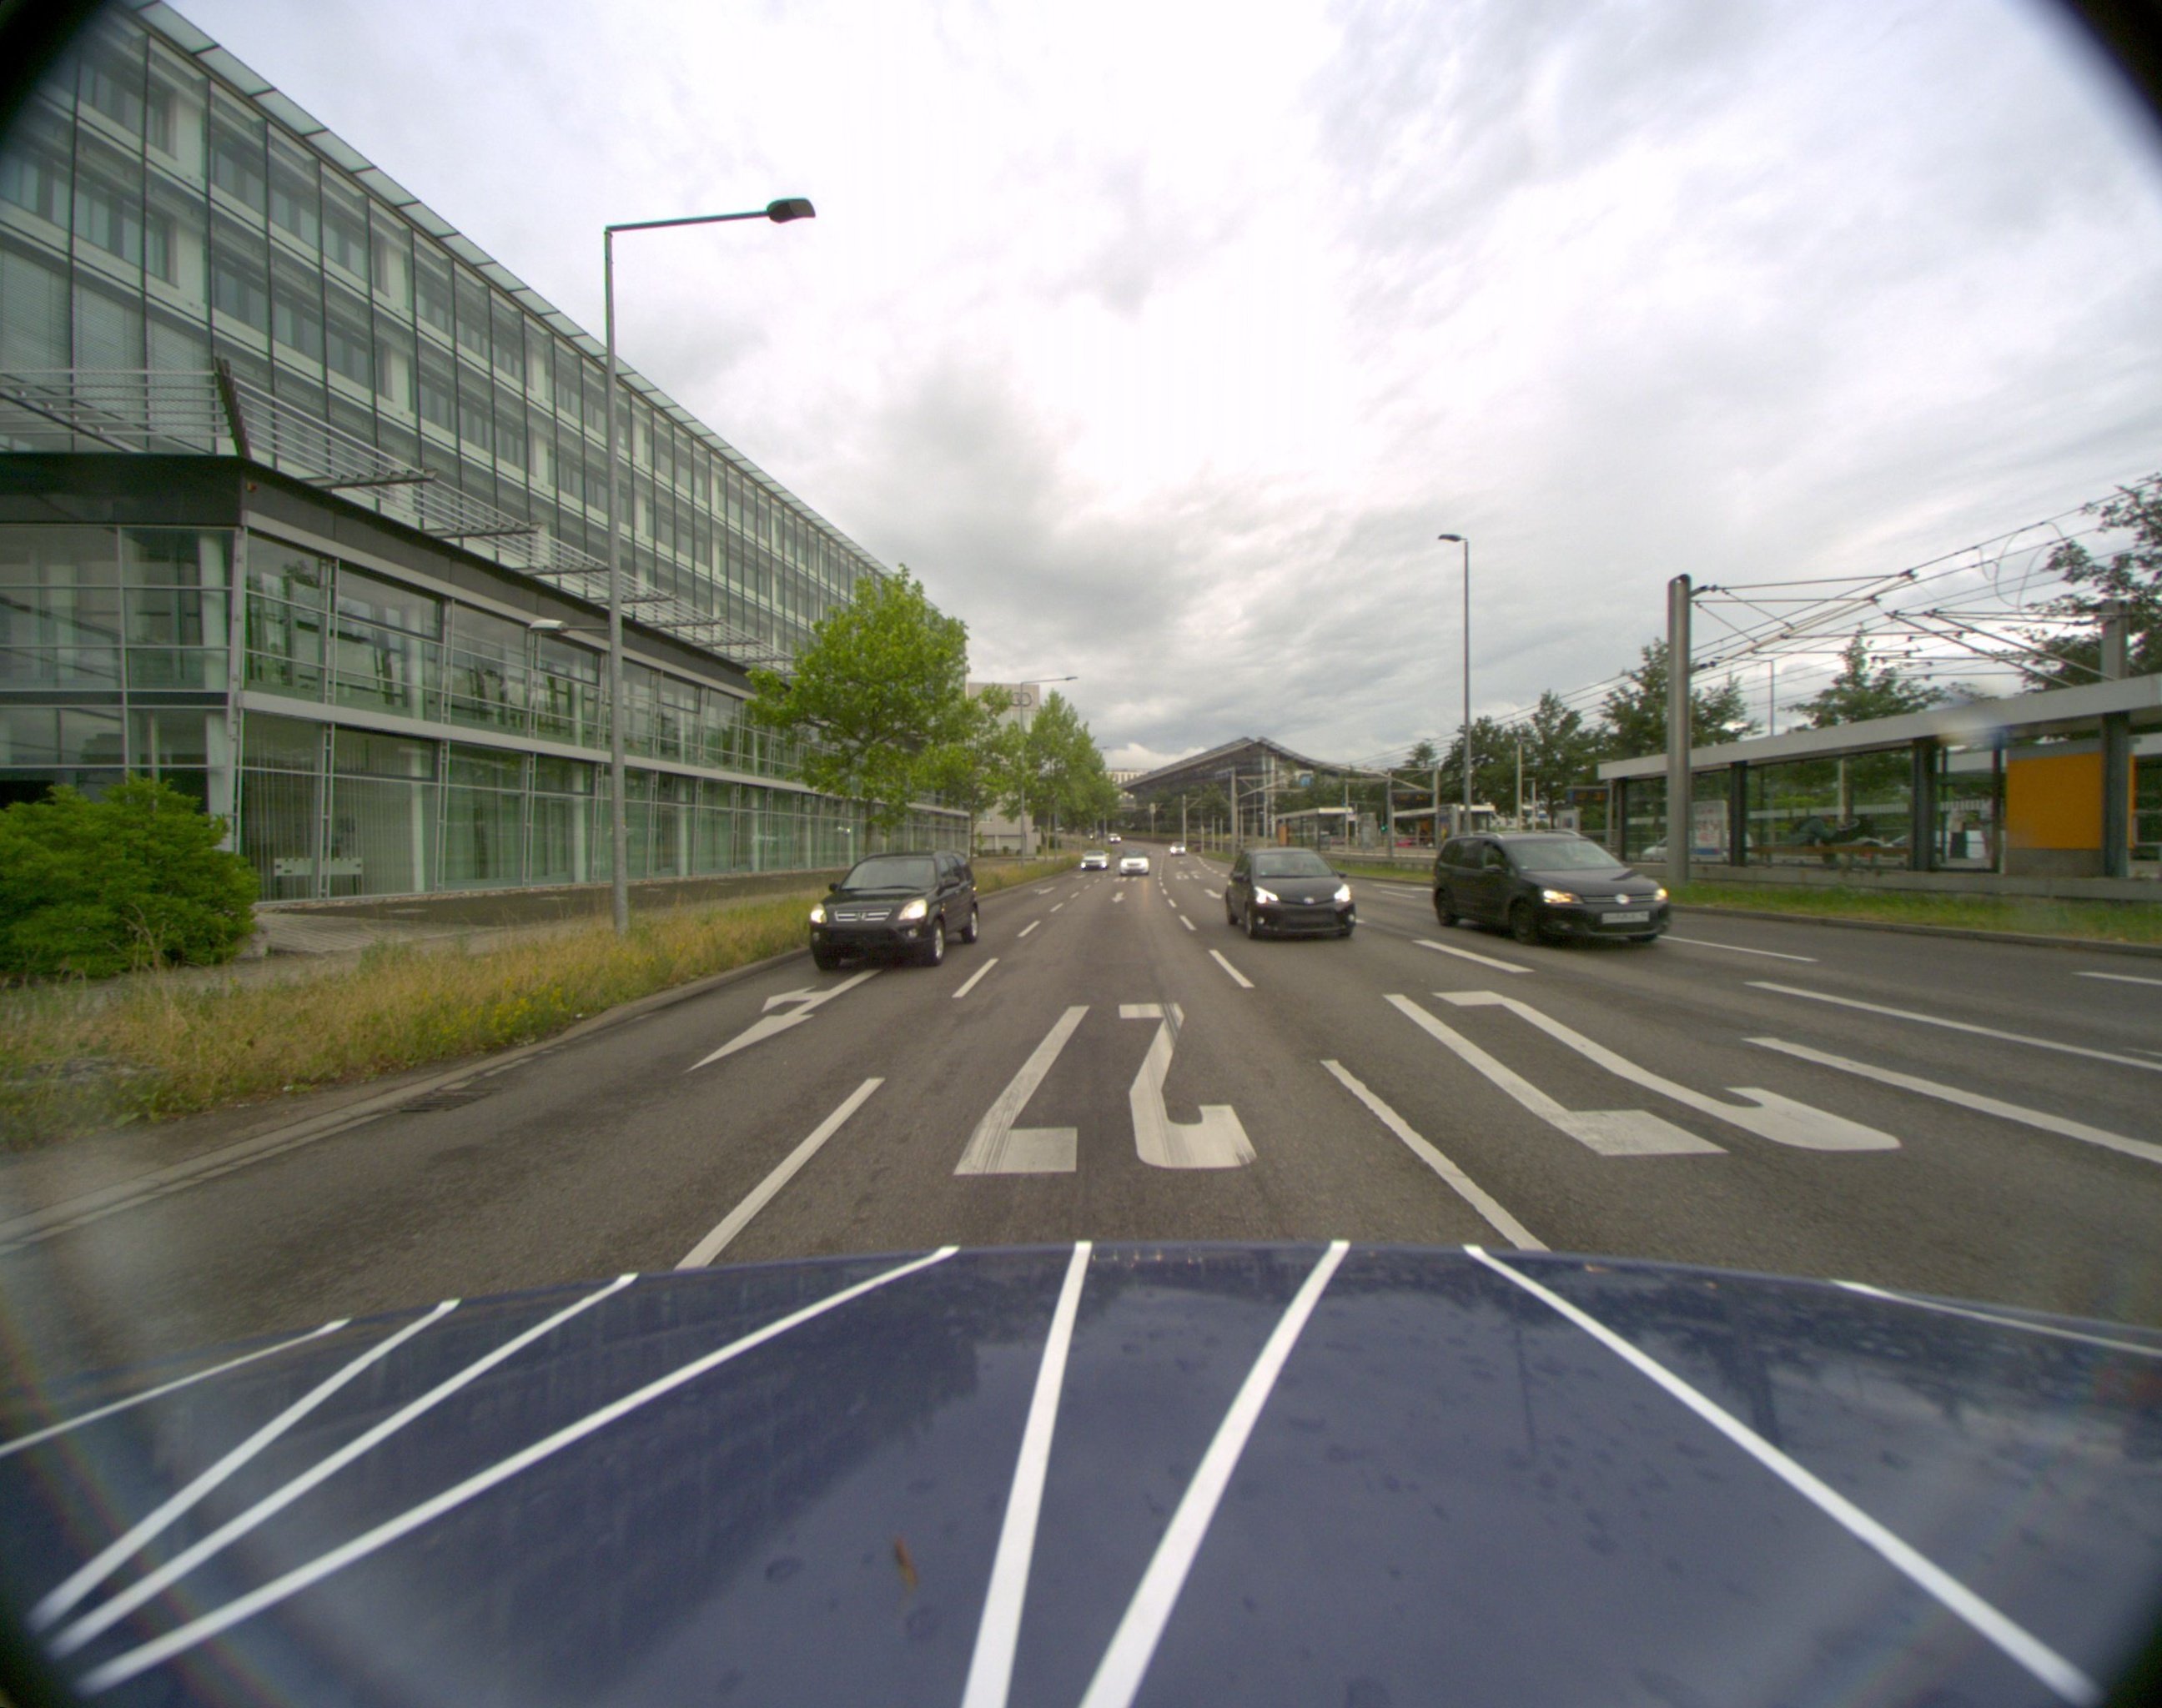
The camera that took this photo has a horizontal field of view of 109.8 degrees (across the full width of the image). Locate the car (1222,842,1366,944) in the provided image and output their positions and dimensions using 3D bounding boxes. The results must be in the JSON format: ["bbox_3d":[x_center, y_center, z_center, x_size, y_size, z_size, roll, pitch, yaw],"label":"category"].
[{"bbox_3d":[3.632,0.606,13.625,1.696,1.514,3.906,-2,0,4],"label":"car"}]

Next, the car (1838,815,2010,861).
[{"bbox_3d":[35.307,-0.700,32.060,2.110,1.690,4.664,-3,2,0],"label":"car"}]

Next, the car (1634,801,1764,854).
[{"bbox_3d":[28.758,-1.217,35.627,1.998,2.202,5.142,-3,2,2],"label":"car"}]

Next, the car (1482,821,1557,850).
[{"bbox_3d":[28.991,-1.250,50.441,1.999,1.721,5.028,-3,2,-1],"label":"car"}]

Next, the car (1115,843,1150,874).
[{"bbox_3d":[3.027,0.232,45.436,1.805,1.713,4.000,-3,1,1],"label":"car"}]

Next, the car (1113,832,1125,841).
[{"bbox_3d":[7.238,-3.344,145.509,1.829,1.701,4.152,-3,2,-1],"label":"car"}]

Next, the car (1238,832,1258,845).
[{"bbox_3d":[26.191,-2.445,119.469,1.999,1.837,3.998,-3,2,-2],"label":"car"}]

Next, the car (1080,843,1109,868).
[{"bbox_3d":[0.971,0.091,55.220,1.998,1.669,3.821,-2,2,1],"label":"car"}]

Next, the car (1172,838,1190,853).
[{"bbox_3d":[10.916,-0.949,83.211,1.739,1.470,4.001,-2,1,6],"label":"car"}]

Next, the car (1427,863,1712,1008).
[{"bbox_3d":[7.108,1.056,11.663,1.731,1.583,4.192,-3,2,2],"label":"car"}]

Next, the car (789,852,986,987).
[{"bbox_3d":[-2.795,0.854,12.087,1.770,1.620,4.325,-3,1,3],"label":"car"}]
